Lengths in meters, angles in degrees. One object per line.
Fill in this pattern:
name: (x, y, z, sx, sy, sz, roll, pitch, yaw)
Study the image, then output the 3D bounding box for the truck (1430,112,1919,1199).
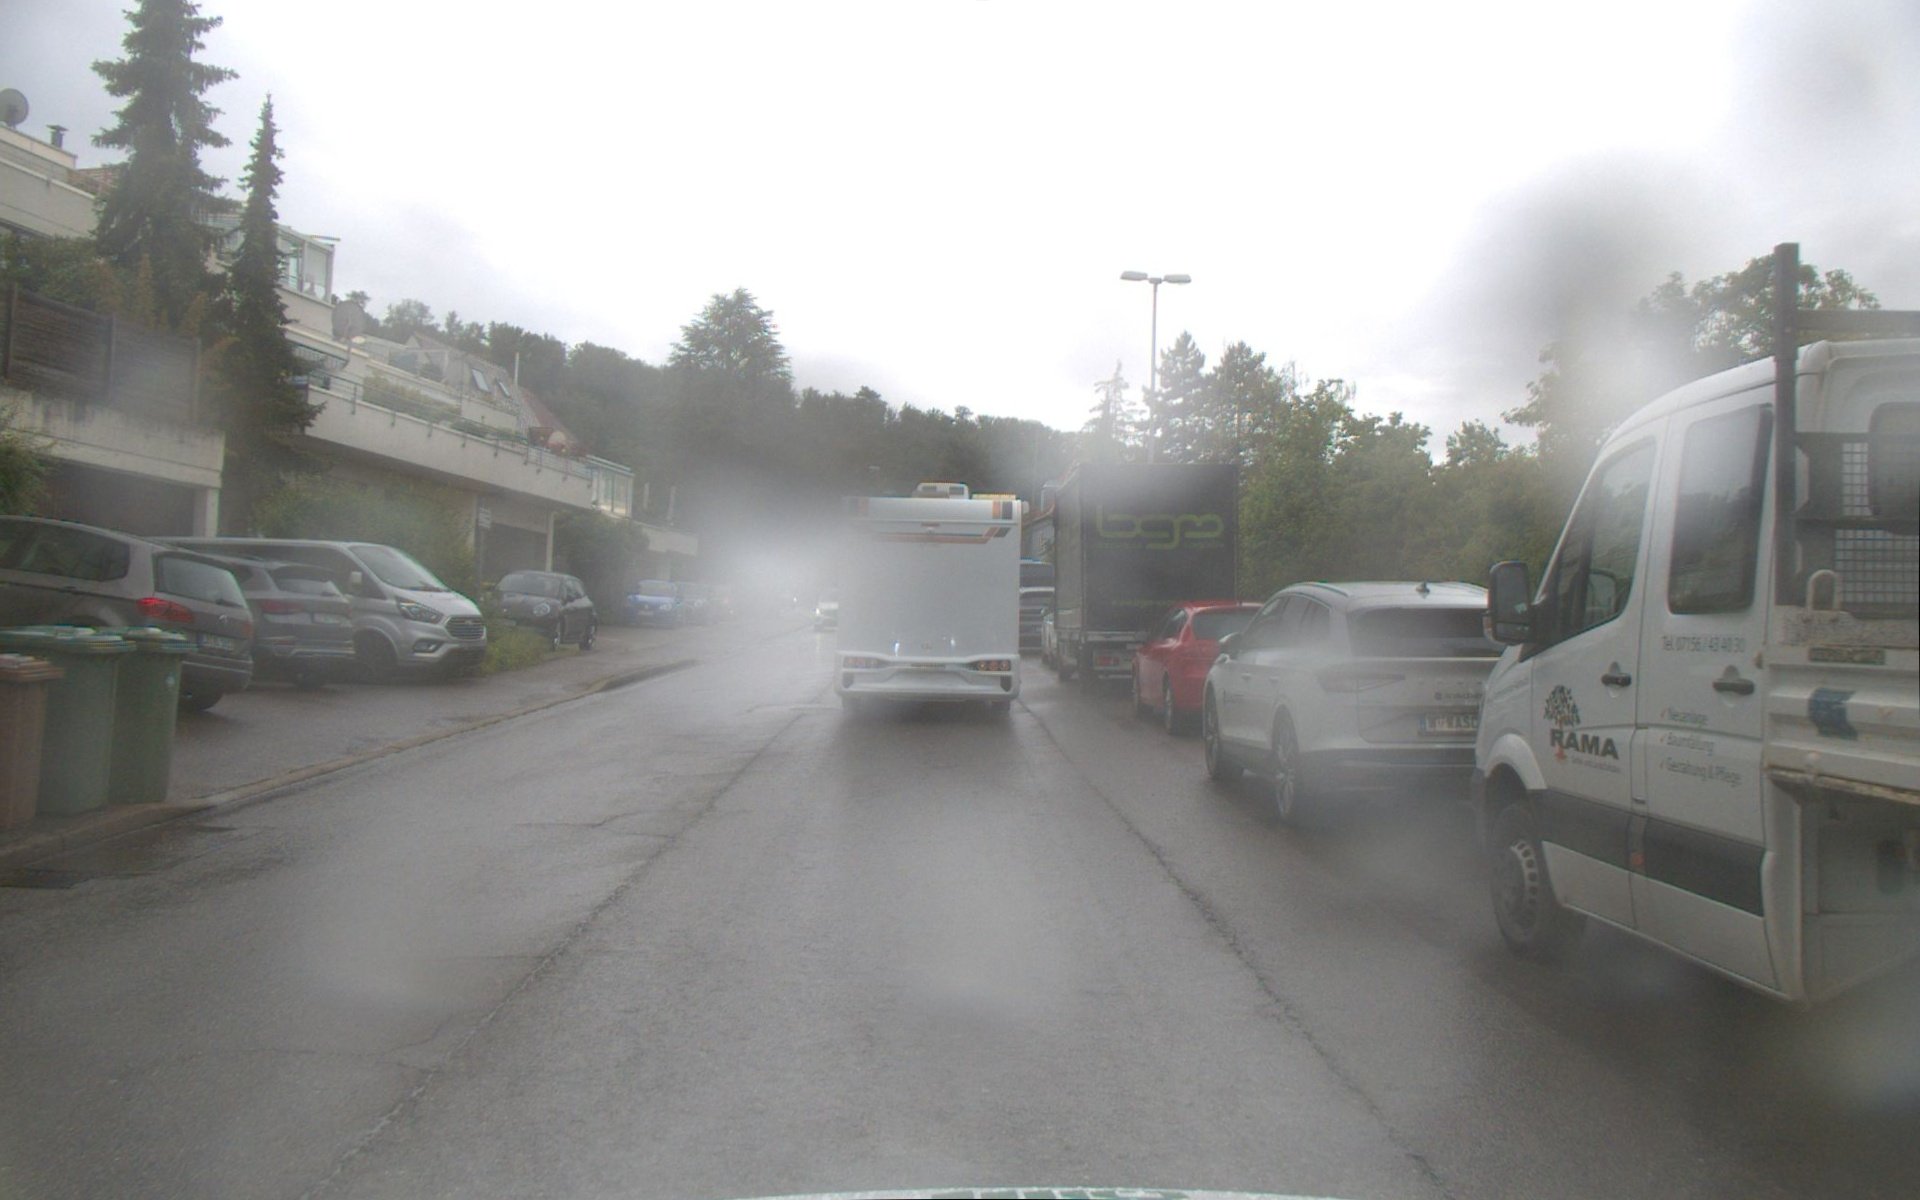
truck: (3.444, 0.149, 4.979, 2.193, 2.677, 6.538, 0, 0, 0)

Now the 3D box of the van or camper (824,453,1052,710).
van or camper: (-0.285, -0.145, 22.316, 2.562, 2.903, 6.029, 2, -1, -1)

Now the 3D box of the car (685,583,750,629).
car: (-8.520, 0.191, 58.364, 1.600, 1.420, 4.238, 5, 0, -1)

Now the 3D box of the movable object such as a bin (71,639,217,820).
movable object such as a bin: (-5.216, 0.816, 10.611, 0.591, 1.082, 0.697, 2, 0, -6)

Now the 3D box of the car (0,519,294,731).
car: (-8.714, 0.132, 15.673, 3.969, 1.721, 1.895, 5, 0, 12)

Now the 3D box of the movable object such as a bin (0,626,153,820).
movable object such as a bin: (-5.270, 0.717, 9.865, 0.591, 1.082, 0.637, 2, 0, -6)

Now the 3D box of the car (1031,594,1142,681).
car: (2.608, 0.740, 35.320, 1.808, 1.713, 5.637, 0, 0, -1)

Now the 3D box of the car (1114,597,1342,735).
car: (3.084, 0.707, 20.058, 1.795, 1.463, 4.984, 0, 0, -2)

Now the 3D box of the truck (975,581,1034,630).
truck: (1.841, 0.207, 70.749, 2.071, 1.884, 6.616, 3, 0, -2)

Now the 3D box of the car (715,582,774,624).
car: (-8.643, 0.122, 66.611, 1.739, 1.461, 4.587, 6, 0, -1)

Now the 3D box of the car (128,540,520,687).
car: (-9.164, 0.173, 23.947, 4.976, 1.978, 2.143, 0, 0, 15)

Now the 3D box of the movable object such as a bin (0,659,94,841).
movable object such as a bin: (-5.283, 0.821, 9.234, 0.591, 0.944, 0.563, 2, 0, -6)

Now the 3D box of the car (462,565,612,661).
car: (-8.495, 0.240, 33.581, 1.655, 1.615, 4.198, 7, 1, 2)

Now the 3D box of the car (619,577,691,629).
car: (-9.628, 0.055, 52.515, 1.575, 1.459, 3.957, 5, 1, -2)

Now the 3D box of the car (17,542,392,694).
car: (-9.536, 0.217, 20.974, 3.969, 1.667, 1.895, 2, -1, 15)

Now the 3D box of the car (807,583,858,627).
car: (-4.998, 0.182, 65.214, 1.868, 1.635, 4.425, 2, 0, -3)

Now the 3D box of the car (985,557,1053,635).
car: (1.980, -0.132, 56.986, 1.990, 2.549, 5.954, 0, 0, -1)

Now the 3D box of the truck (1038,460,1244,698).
truck: (2.778, -0.290, 27.603, 2.387, 3.394, 7.963, 0, 0, -1)

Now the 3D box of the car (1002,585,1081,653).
car: (2.093, 0.461, 43.638, 1.896, 1.701, 4.694, 0, 0, 0)

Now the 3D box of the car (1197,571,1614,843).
car: (3.022, 0.649, 12.298, 1.724, 1.632, 4.665, 0, 0, -2)
